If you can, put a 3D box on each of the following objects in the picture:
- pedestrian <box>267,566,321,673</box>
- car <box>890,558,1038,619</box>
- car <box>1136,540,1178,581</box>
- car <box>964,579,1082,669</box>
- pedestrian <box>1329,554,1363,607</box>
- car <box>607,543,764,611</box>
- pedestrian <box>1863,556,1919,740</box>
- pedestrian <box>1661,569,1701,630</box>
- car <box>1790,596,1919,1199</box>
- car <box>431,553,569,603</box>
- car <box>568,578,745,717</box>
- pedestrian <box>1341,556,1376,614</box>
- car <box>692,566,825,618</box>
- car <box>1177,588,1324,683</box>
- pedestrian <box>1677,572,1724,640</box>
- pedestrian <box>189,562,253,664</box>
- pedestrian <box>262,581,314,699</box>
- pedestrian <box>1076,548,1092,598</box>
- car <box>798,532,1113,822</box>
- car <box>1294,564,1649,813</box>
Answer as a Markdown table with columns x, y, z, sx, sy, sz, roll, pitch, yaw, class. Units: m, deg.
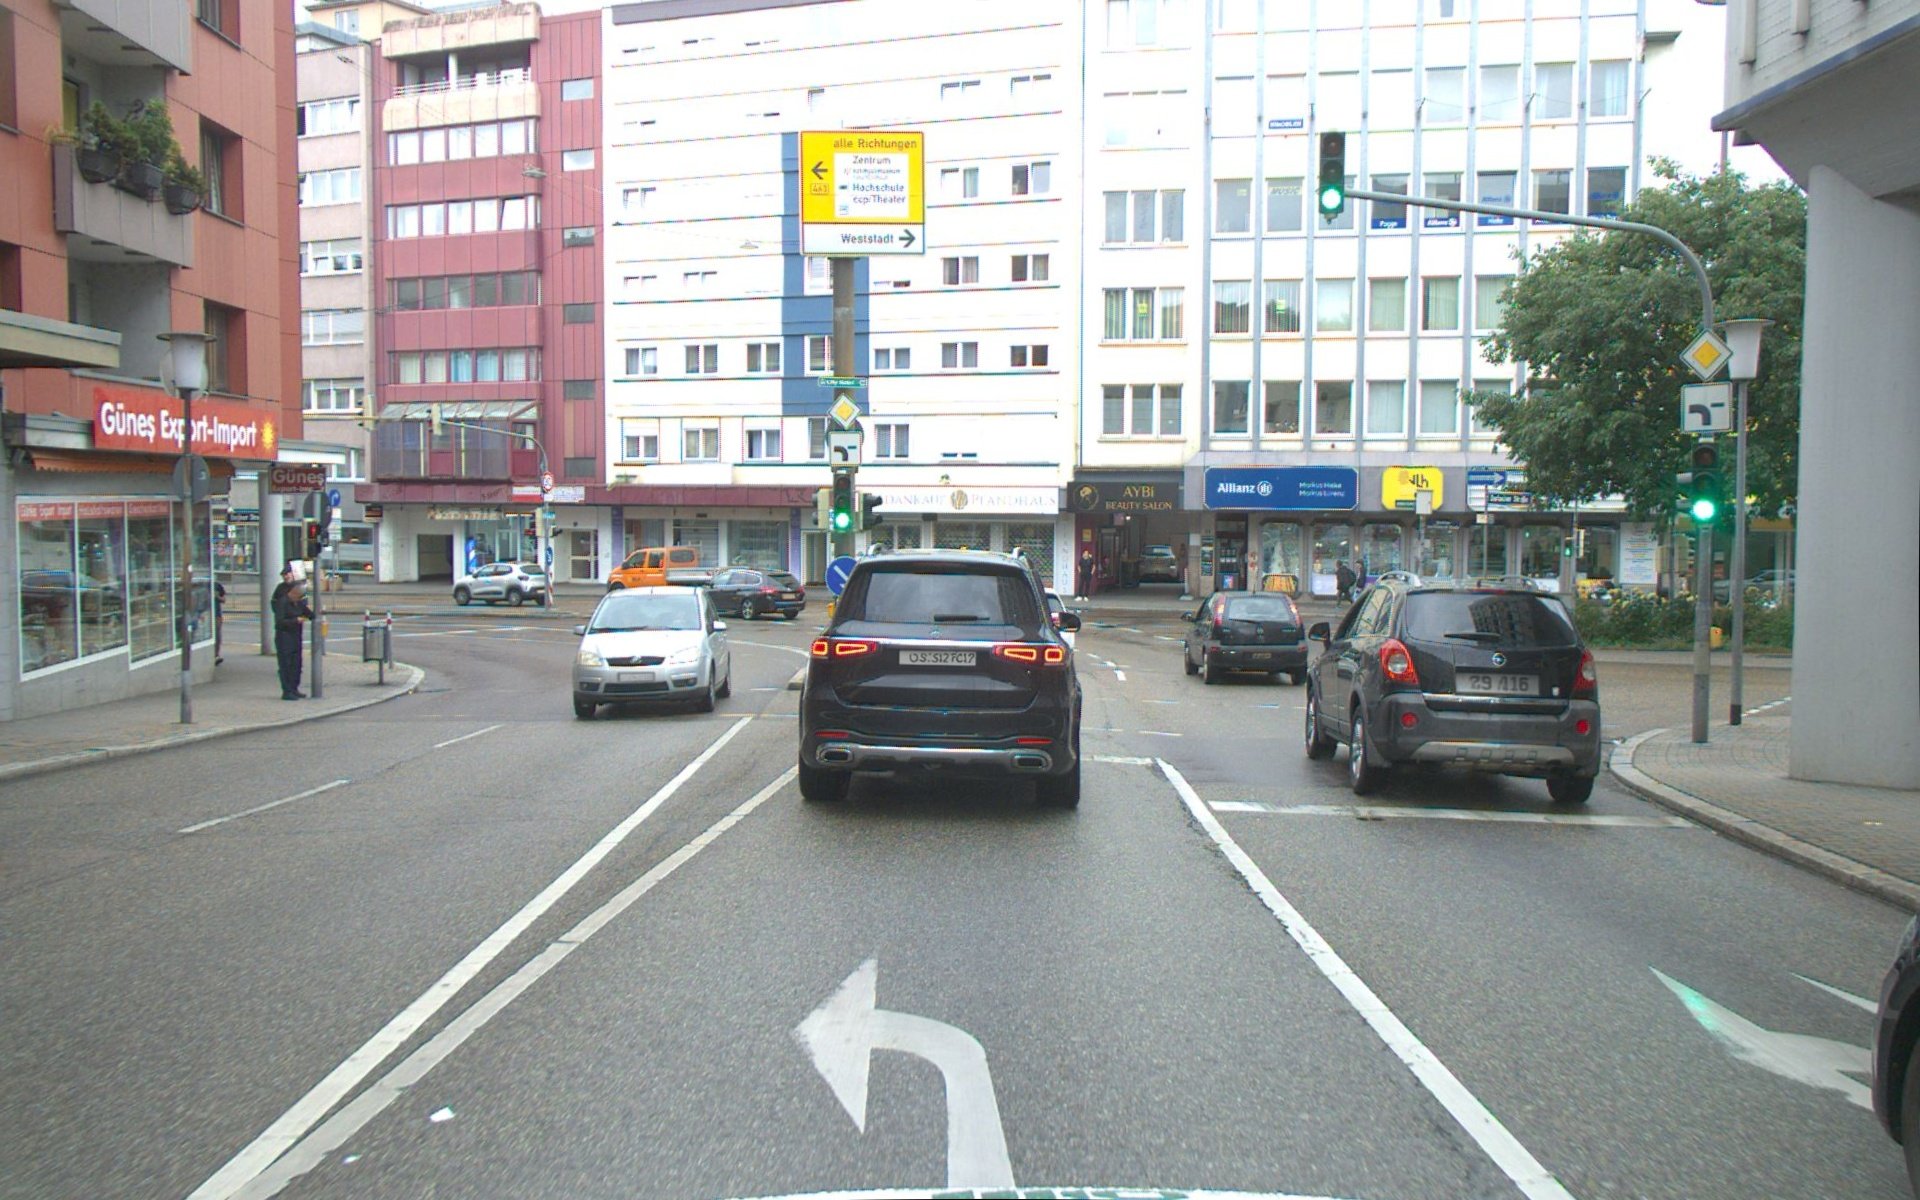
| x | y | z | sx | sy | sz | roll | pitch | yaw | class |
| --- | --- | --- | --- | --- | --- | --- | --- | --- | --- |
| -11.818 | 0.339 | 29.364 | 0.747 | 1.881 | 0.841 | 0 | 0 | -13 | pedestrian |
| 0.085 | -0.368 | 50.102 | 4.417 | 1.687 | 1.817 | 2 | -1 | 43 | car |
| 8.388 | -1.669 | 70.324 | 1.759 | 1.699 | 4.003 | 0 | 1 | 7 | car |
| 1.109 | 0.397 | 31.181 | 1.836 | 1.521 | 4.398 | 2 | 1 | -3 | car |
| 13.076 | -0.660 | 56.105 | 1.008 | 1.717 | 0.831 | 0 | 6 | 7 | pedestrian |
| -9.843 | -0.840 | 59.113 | 5.311 | 2.267 | 2.245 | 2 | 0 | 31 | car |
| 9.946 | 0.473 | 17.065 | 0.708 | 1.849 | 0.828 | -1 | -1 | -8 | pedestrian |
| 23.045 | -0.019 | 52.867 | 0.875 | 1.859 | 0.676 | 5 | -1 | -18 | pedestrian |
| 3.214 | 0.806 | 2.676 | 1.654 | 1.502 | 4.000 | 3 | 0 | 0 | car |
| -16.184 | -0.762 | 58.158 | 4.558 | 1.542 | 1.928 | 2 | -1 | 27 | car |
| -3.954 | 0.577 | 22.146 | 1.700 | 1.620 | 4.173 | -2 | 0 | -2 | car |
| 13.157 | -0.513 | 54.676 | 1.008 | 1.829 | 0.831 | 1 | 6 | 7 | pedestrian |
| -6.199 | -0.254 | 50.537 | 1.985 | 1.512 | 4.169 | -1 | 1 | -43 | car |
| 4.678 | 0.521 | 27.121 | 1.730 | 1.422 | 4.000 | 0 | 1 | 0 | car |
| 20.912 | 0.161 | 46.747 | 0.807 | 1.858 | 0.891 | 3 | 2 | -3 | pedestrian |
| -13.746 | 0.228 | 30.767 | 0.708 | 1.863 | 0.828 | 1 | 0 | 32 | pedestrian |
| -9.964 | 0.581 | 24.553 | 0.543 | 1.727 | 0.623 | 0 | 0 | -5 | pedestrian |
| 4.397 | -0.962 | 58.662 | 0.552 | 1.717 | 0.757 | 0 | 6 | 5 | pedestrian |
| -0.144 | 0.477 | 13.059 | 1.998 | 1.830 | 4.660 | 2 | 1 | -3 | car |
| 4.150 | 0.618 | 14.222 | 1.858 | 1.724 | 4.508 | 2 | 1 | 4 | car |
